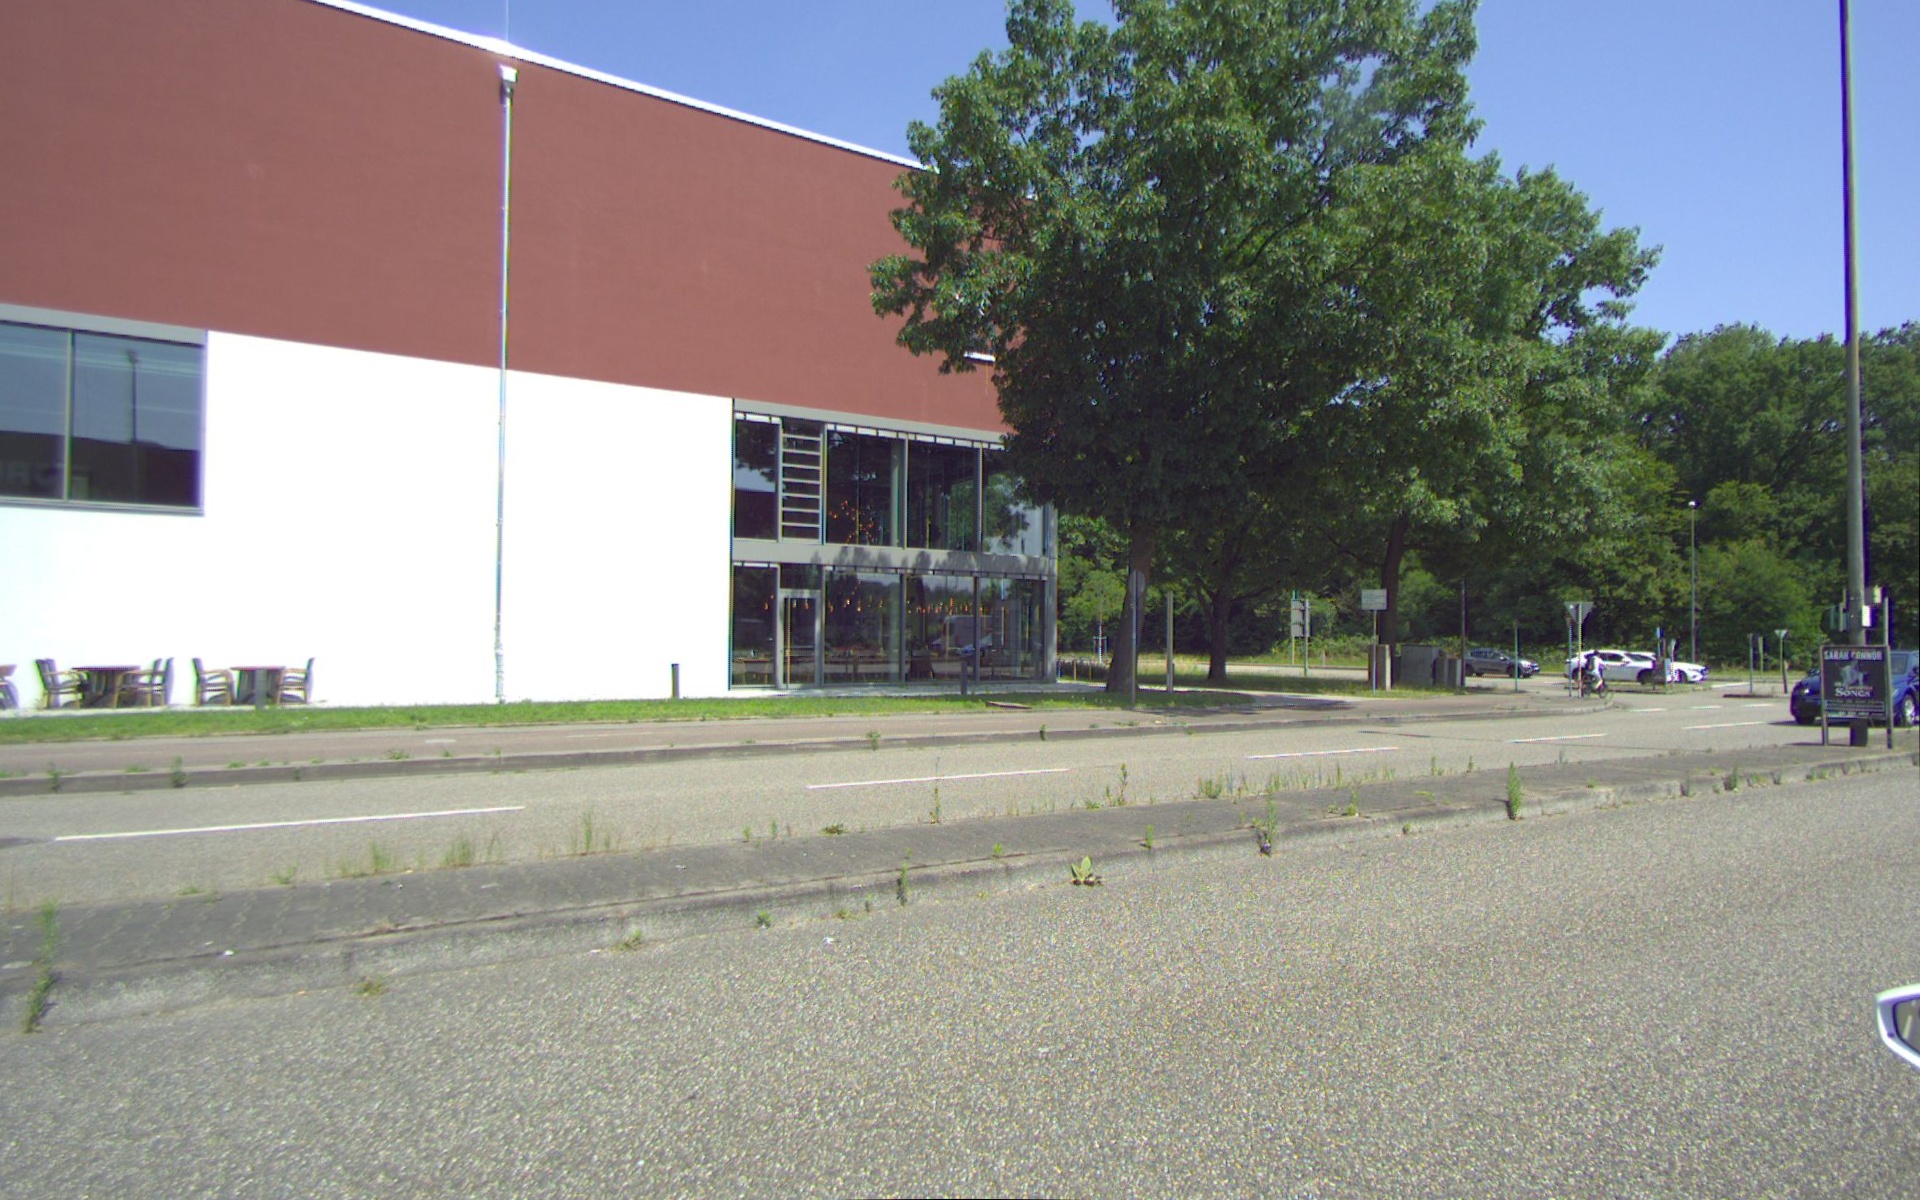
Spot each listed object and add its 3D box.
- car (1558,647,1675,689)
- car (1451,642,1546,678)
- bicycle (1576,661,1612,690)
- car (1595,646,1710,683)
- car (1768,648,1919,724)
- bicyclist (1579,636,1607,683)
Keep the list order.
[{"bbox_3d":[31.356,3.229,48.106,1.794,1.704,4.339,2,-1,-37],"label":"car"},{"bbox_3d":[30.231,3.343,56.467,1.796,1.703,4.334,3,-1,-40],"label":"car"},{"bbox_3d":[22.315,2.651,35.367,1.647,0.982,0.612,2,-2,-40],"label":"bicycle"},{"bbox_3d":[34.528,3.236,50.175,1.794,1.703,4.341,2,-6,-37],"label":"car"},{"bbox_3d":[17.941,1.667,19.810,3.954,1.353,1.797,2,-5,-31],"label":"car"},{"bbox_3d":[22.297,2.088,35.382,0.916,1.652,0.603,2,-2,-40],"label":"bicyclist"}]
